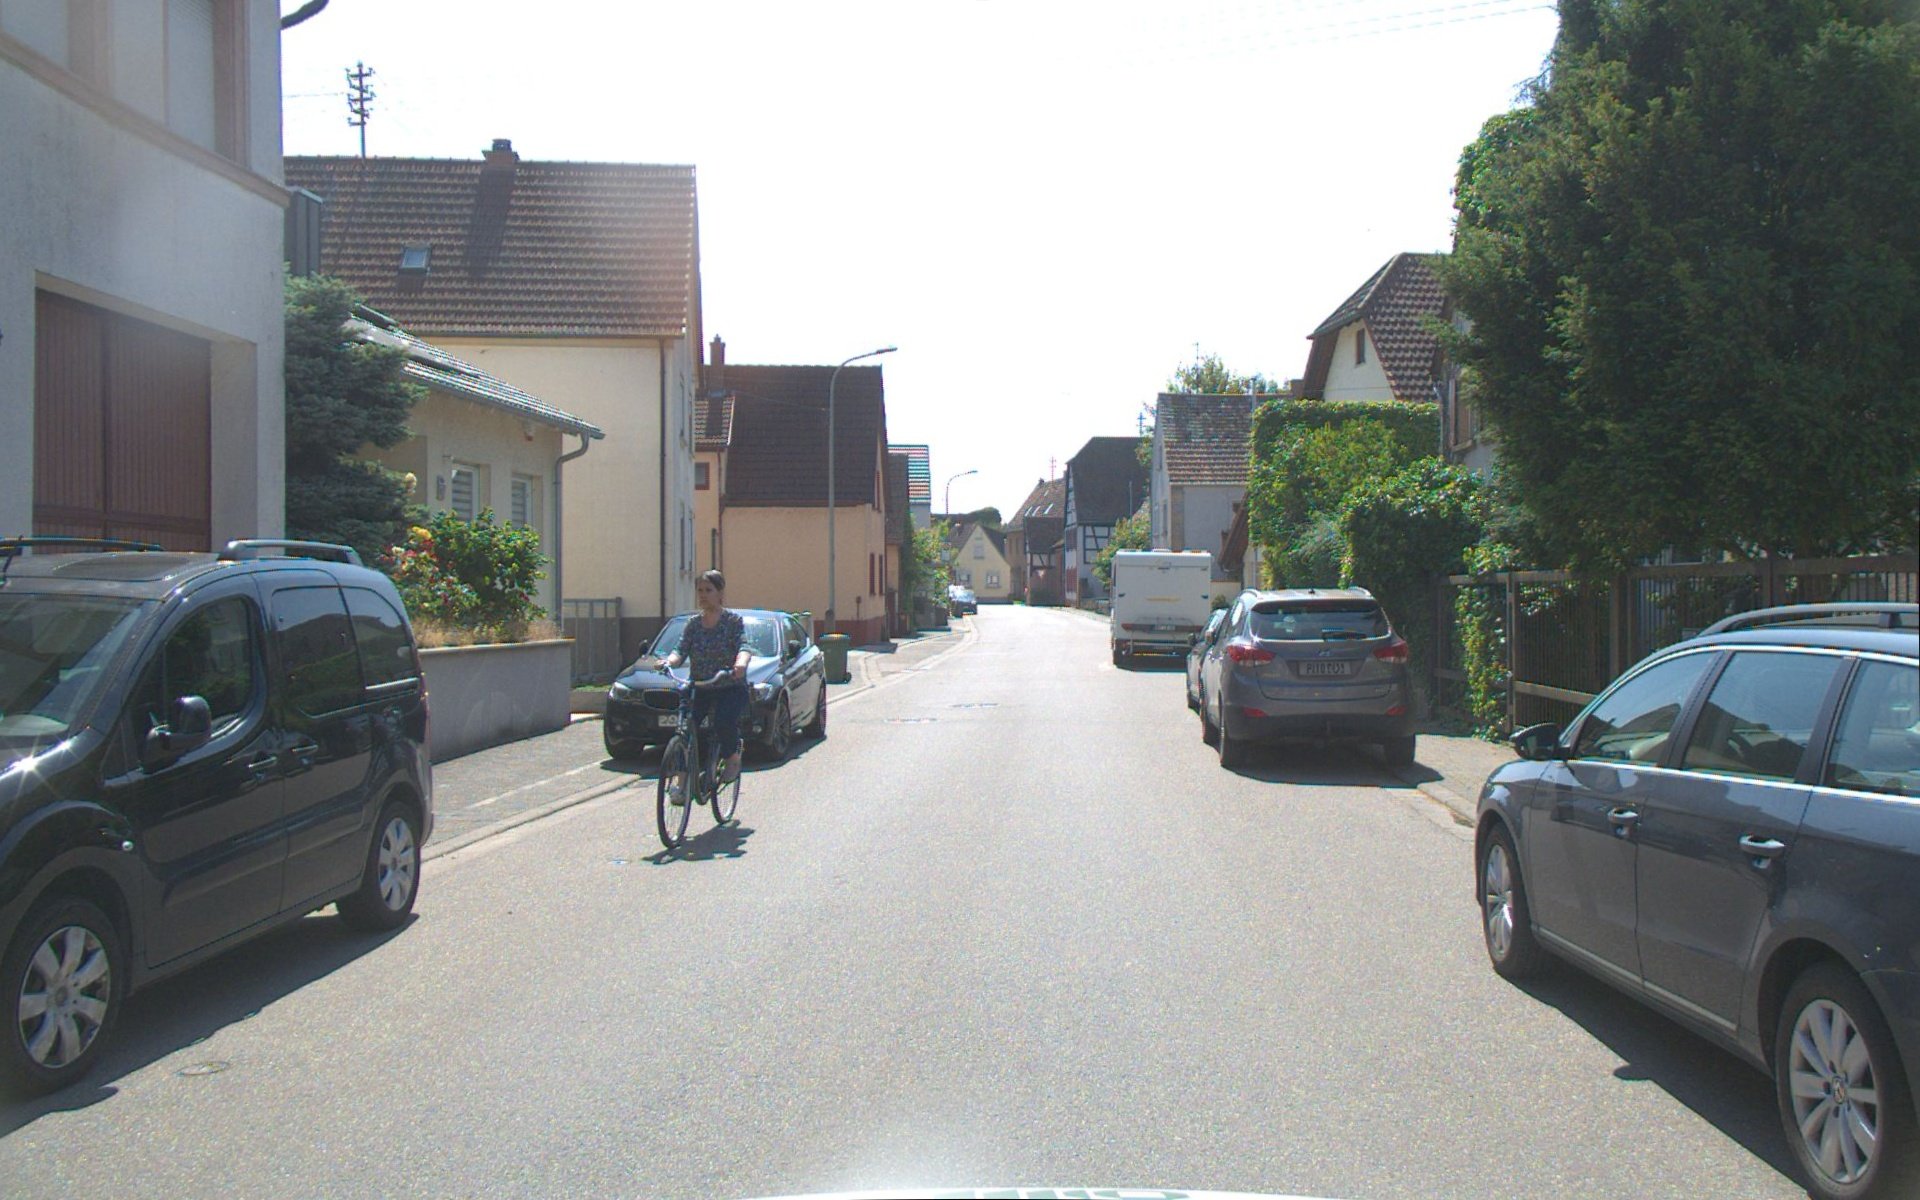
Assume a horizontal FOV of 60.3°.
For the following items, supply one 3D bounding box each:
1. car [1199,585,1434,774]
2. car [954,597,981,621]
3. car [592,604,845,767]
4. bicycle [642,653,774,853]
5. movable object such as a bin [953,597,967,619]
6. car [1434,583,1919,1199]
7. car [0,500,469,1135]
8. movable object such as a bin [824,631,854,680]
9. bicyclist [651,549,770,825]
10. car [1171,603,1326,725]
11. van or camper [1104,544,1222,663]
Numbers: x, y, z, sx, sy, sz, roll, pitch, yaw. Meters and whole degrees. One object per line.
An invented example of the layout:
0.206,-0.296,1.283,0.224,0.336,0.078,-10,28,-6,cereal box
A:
3.478,0.695,16.861,1.756,1.659,4.363,-1,0,4,car
0.468,0.575,104.399,1.480,1.461,3.512,-1,0,3,car
-2.487,0.828,18.263,1.805,1.553,4.767,0,0,4,car
-1.681,0.984,11.283,0.577,1.168,1.948,-1,0,0,bicycle
-0.002,0.468,91.945,0.674,1.206,0.714,-1,0,3,movable object such as a bin
3.120,0.722,5.714,1.781,1.535,4.583,-1,0,2,car
-3.622,0.649,6.567,1.796,1.870,4.355,-1,0,4,car
-2.449,1.119,33.409,0.528,0.966,0.553,1,0,3,movable object such as a bin
-1.680,0.573,11.212,0.689,1.802,0.625,-1,0,-1,bicyclist
3.892,0.809,22.868,1.676,1.489,4.067,-1,0,4,car
4.906,0.090,40.658,2.469,2.744,4.556,-1,0,2,van or camper
